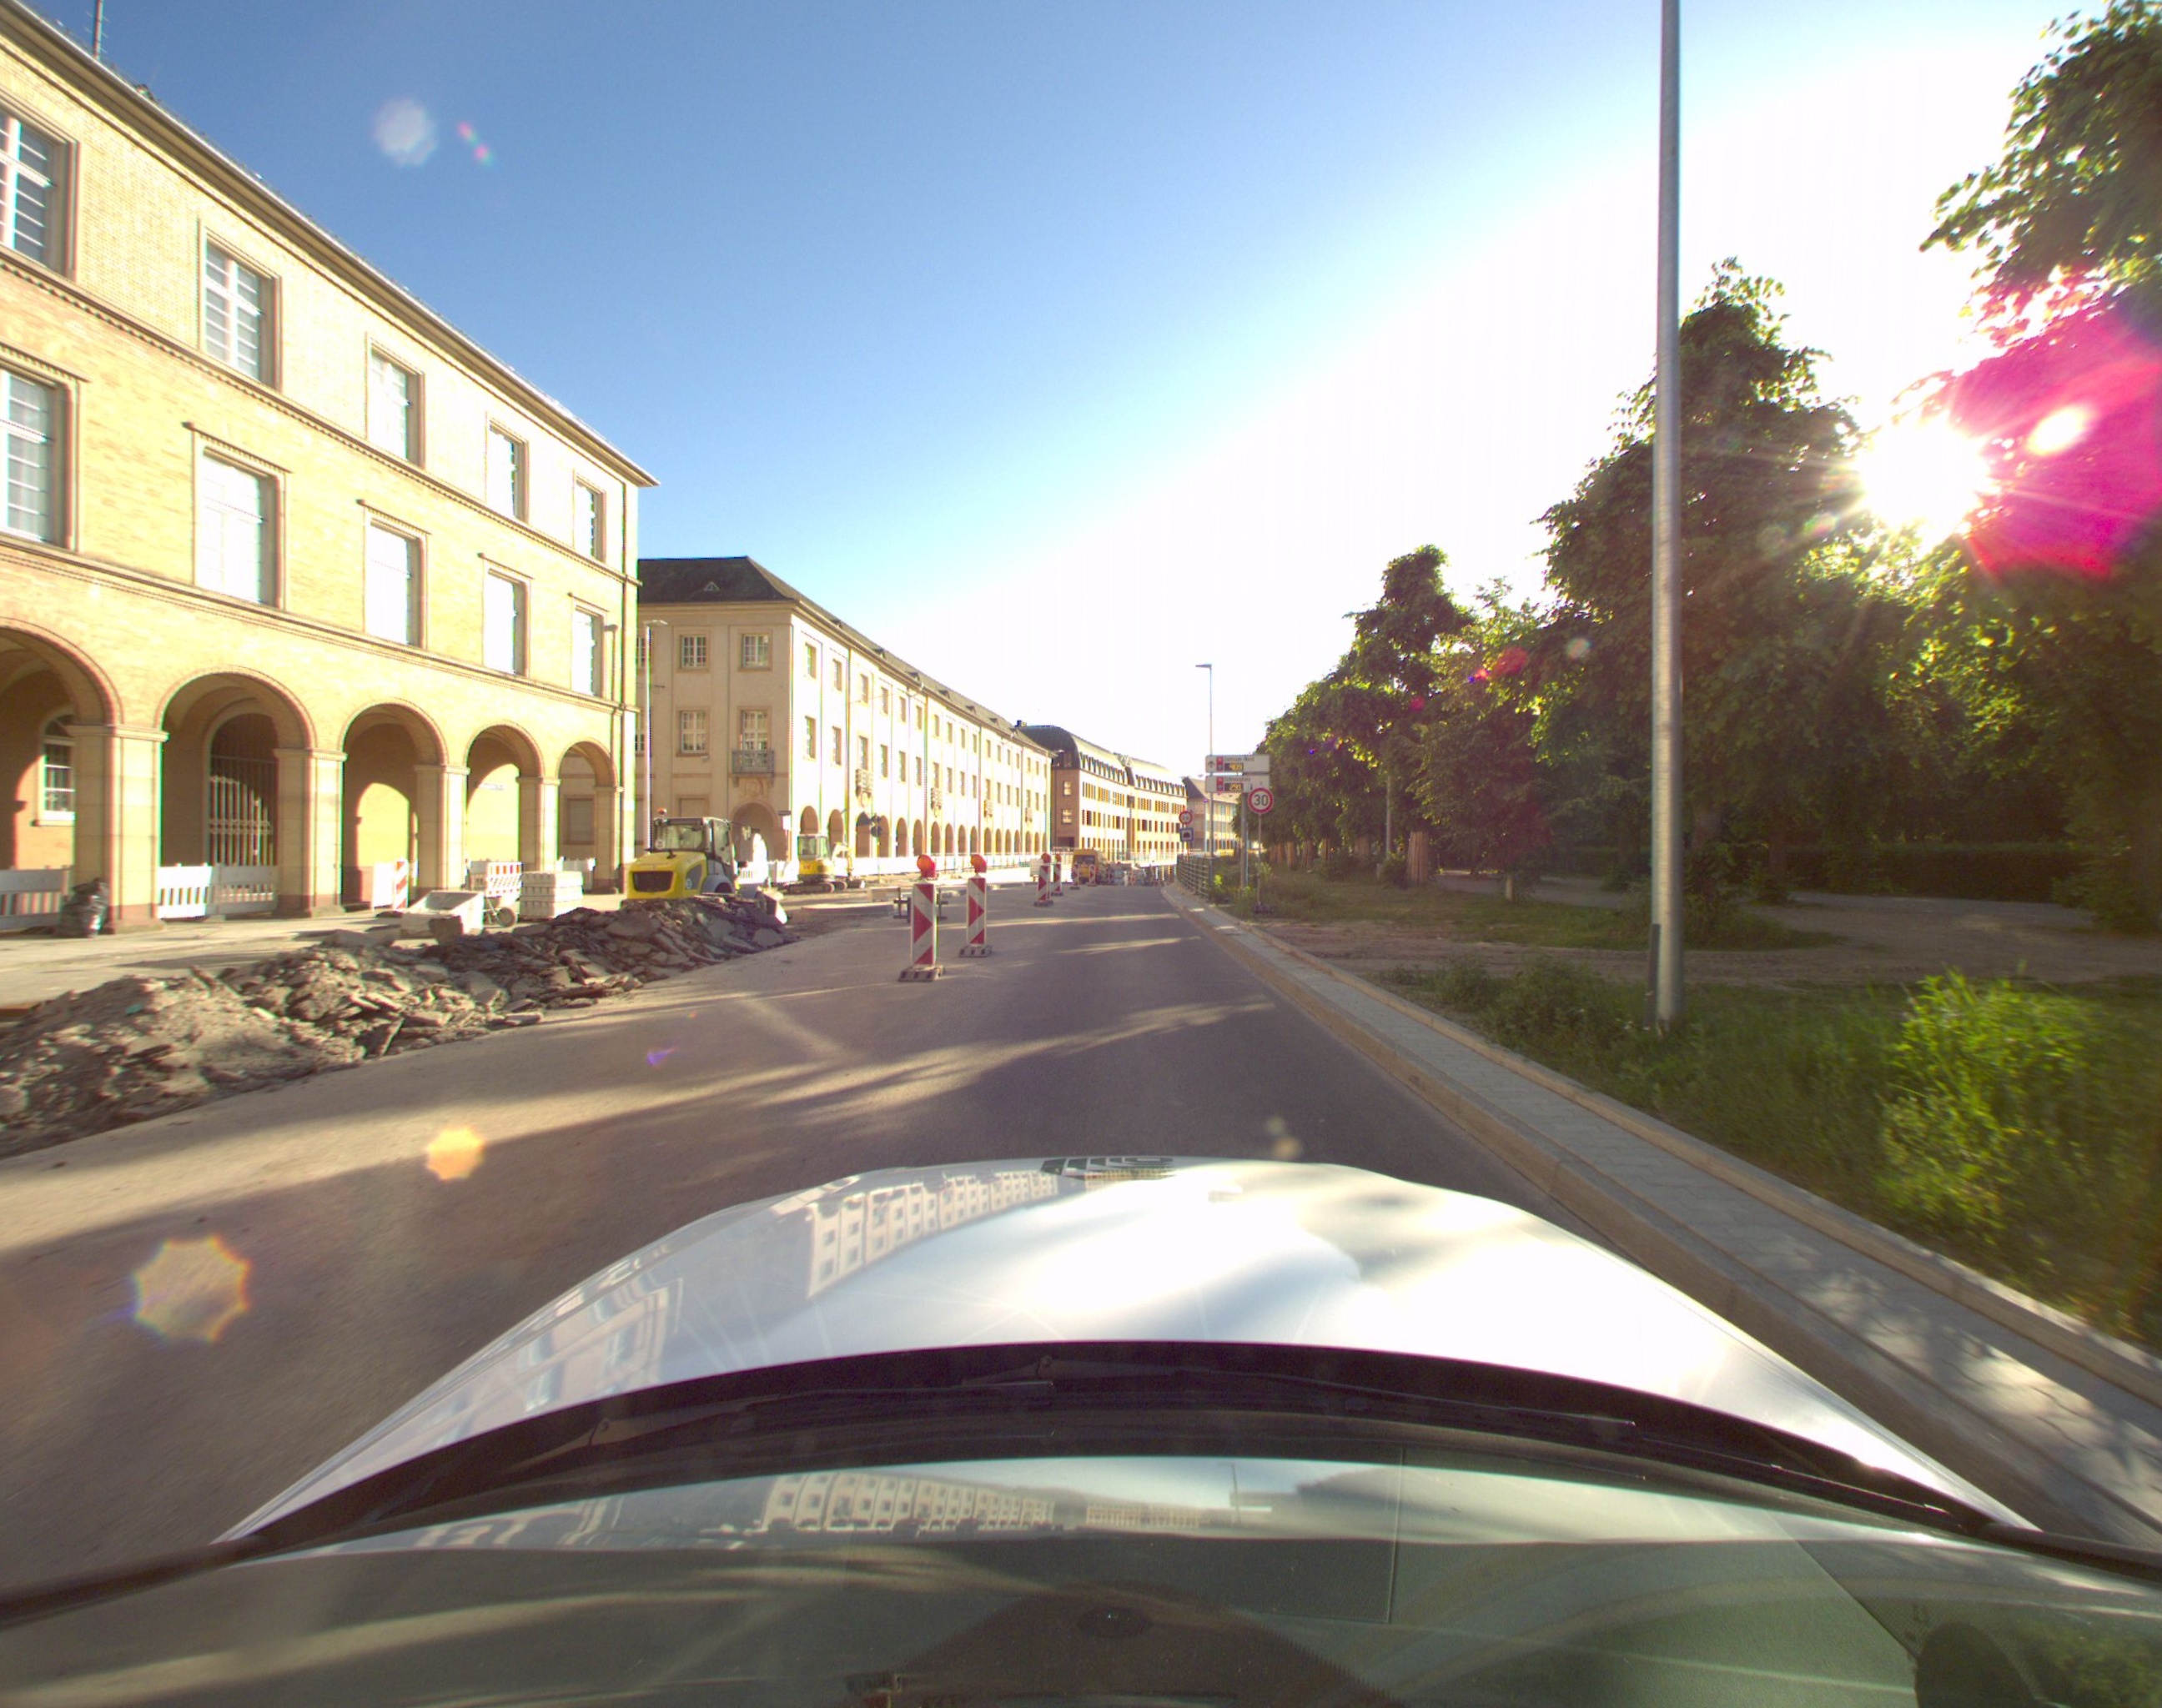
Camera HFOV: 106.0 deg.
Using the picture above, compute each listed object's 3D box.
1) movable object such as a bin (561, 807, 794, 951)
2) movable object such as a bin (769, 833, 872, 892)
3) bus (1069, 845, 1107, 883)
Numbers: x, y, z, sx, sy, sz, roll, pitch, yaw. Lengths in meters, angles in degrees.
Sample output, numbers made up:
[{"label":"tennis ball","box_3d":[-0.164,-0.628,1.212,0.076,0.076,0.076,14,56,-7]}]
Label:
[{"label":"movable object such as a bin","box_3d":[-7.774,0.370,16.357,2.065,2.475,4.623,0,1,5]},{"label":"movable object such as a bin","box_3d":[-11.047,0.326,34.969,2.532,2.348,4.468,0,0,7]},{"label":"bus","box_3d":[0.548,0.772,59.079,2.061,2.687,4.694,0,-2,8]}]
